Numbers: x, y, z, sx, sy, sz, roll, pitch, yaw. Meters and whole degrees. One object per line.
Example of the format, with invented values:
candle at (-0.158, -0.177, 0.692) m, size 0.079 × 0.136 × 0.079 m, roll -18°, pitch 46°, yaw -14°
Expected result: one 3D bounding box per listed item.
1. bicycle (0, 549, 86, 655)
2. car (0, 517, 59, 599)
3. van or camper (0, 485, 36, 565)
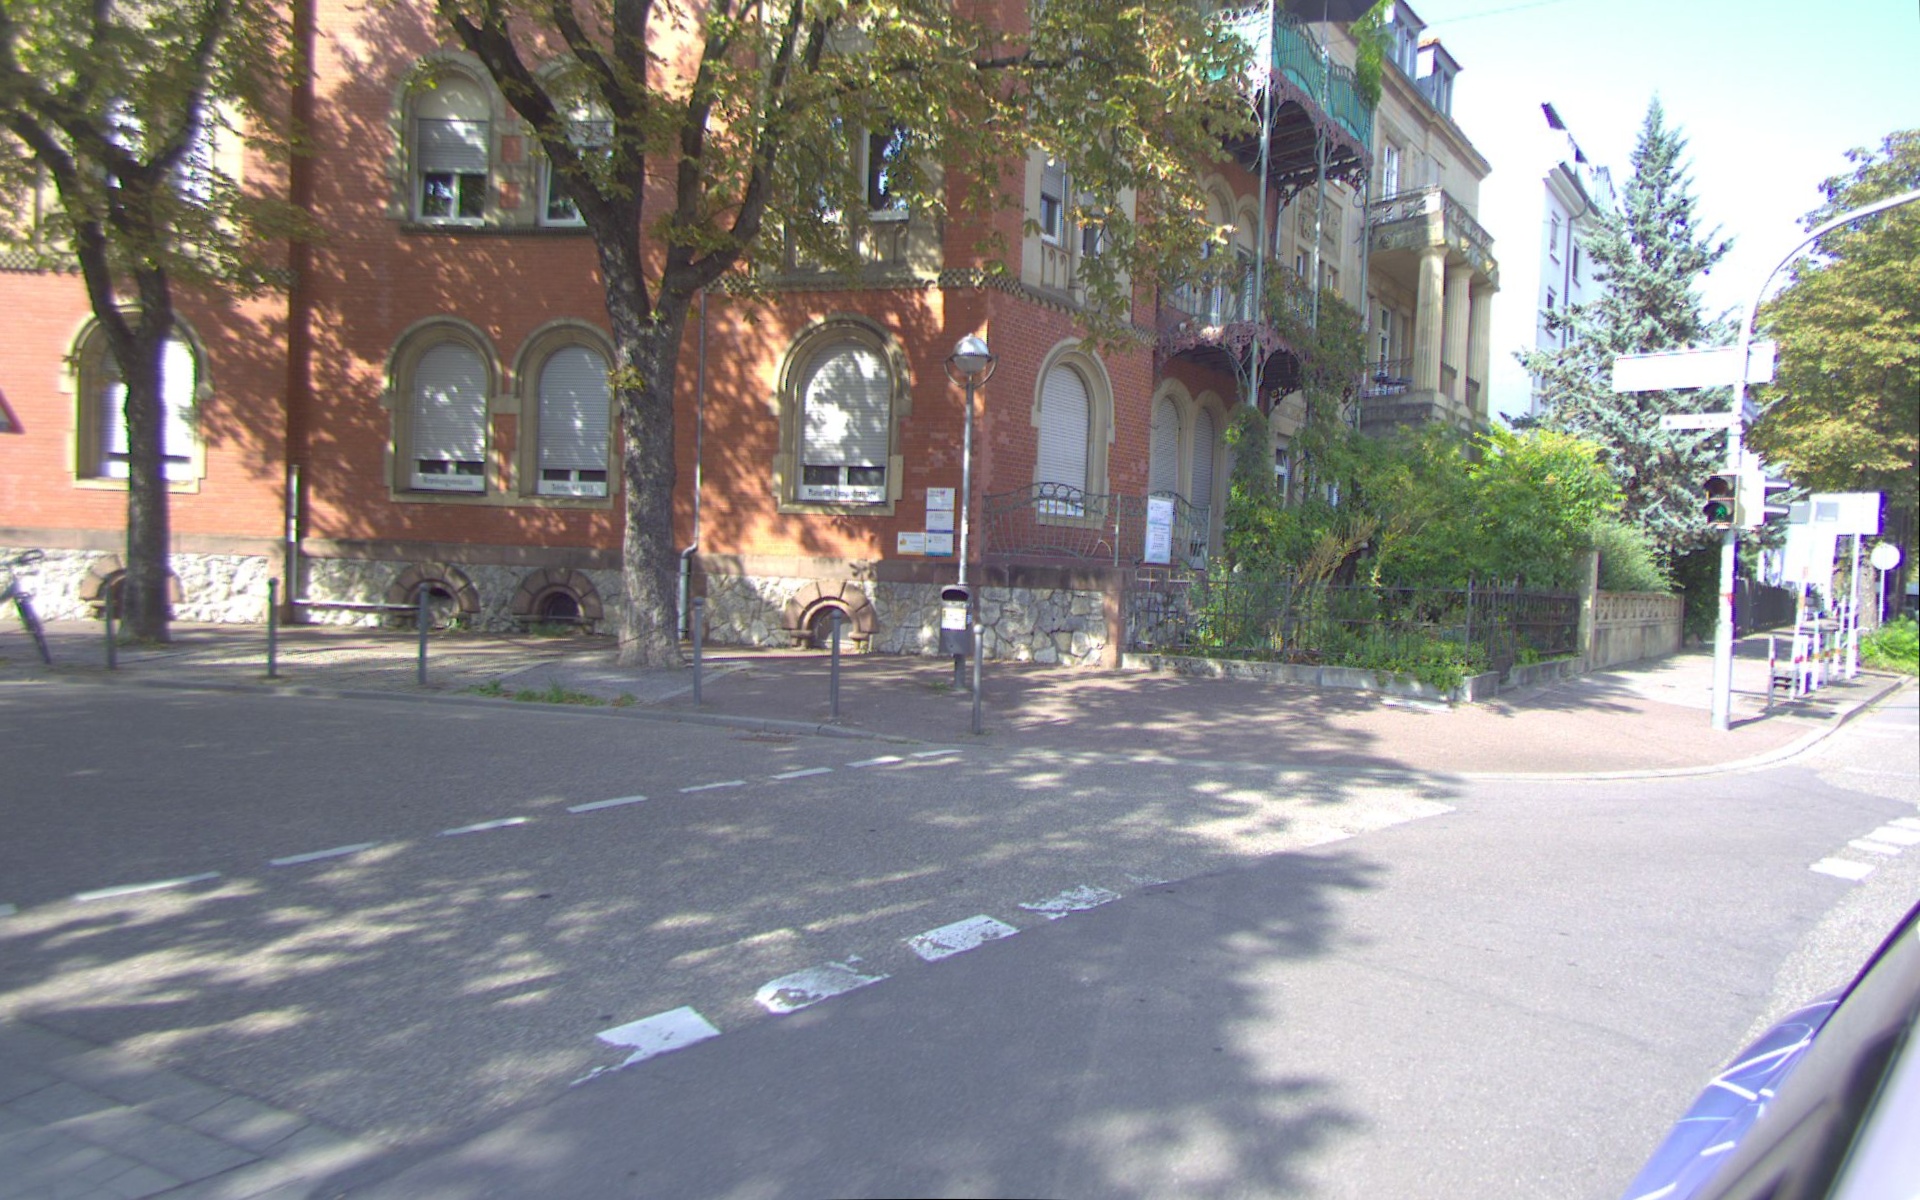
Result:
bicycle at (-10.303, 0.019, 10.526) m, size 1.802 × 1.072 × 0.609 m, roll 1°, pitch -1°, yaw -5°
car at (-19.550, -0.863, 19.944) m, size 1.588 × 1.586 × 4.008 m, roll 1°, pitch 2°, yaw -25°
van or camper at (-38.949, -3.029, 37.273) m, size 6.800 × 2.919 × 2.003 m, roll 4°, pitch -2°, yaw -27°
